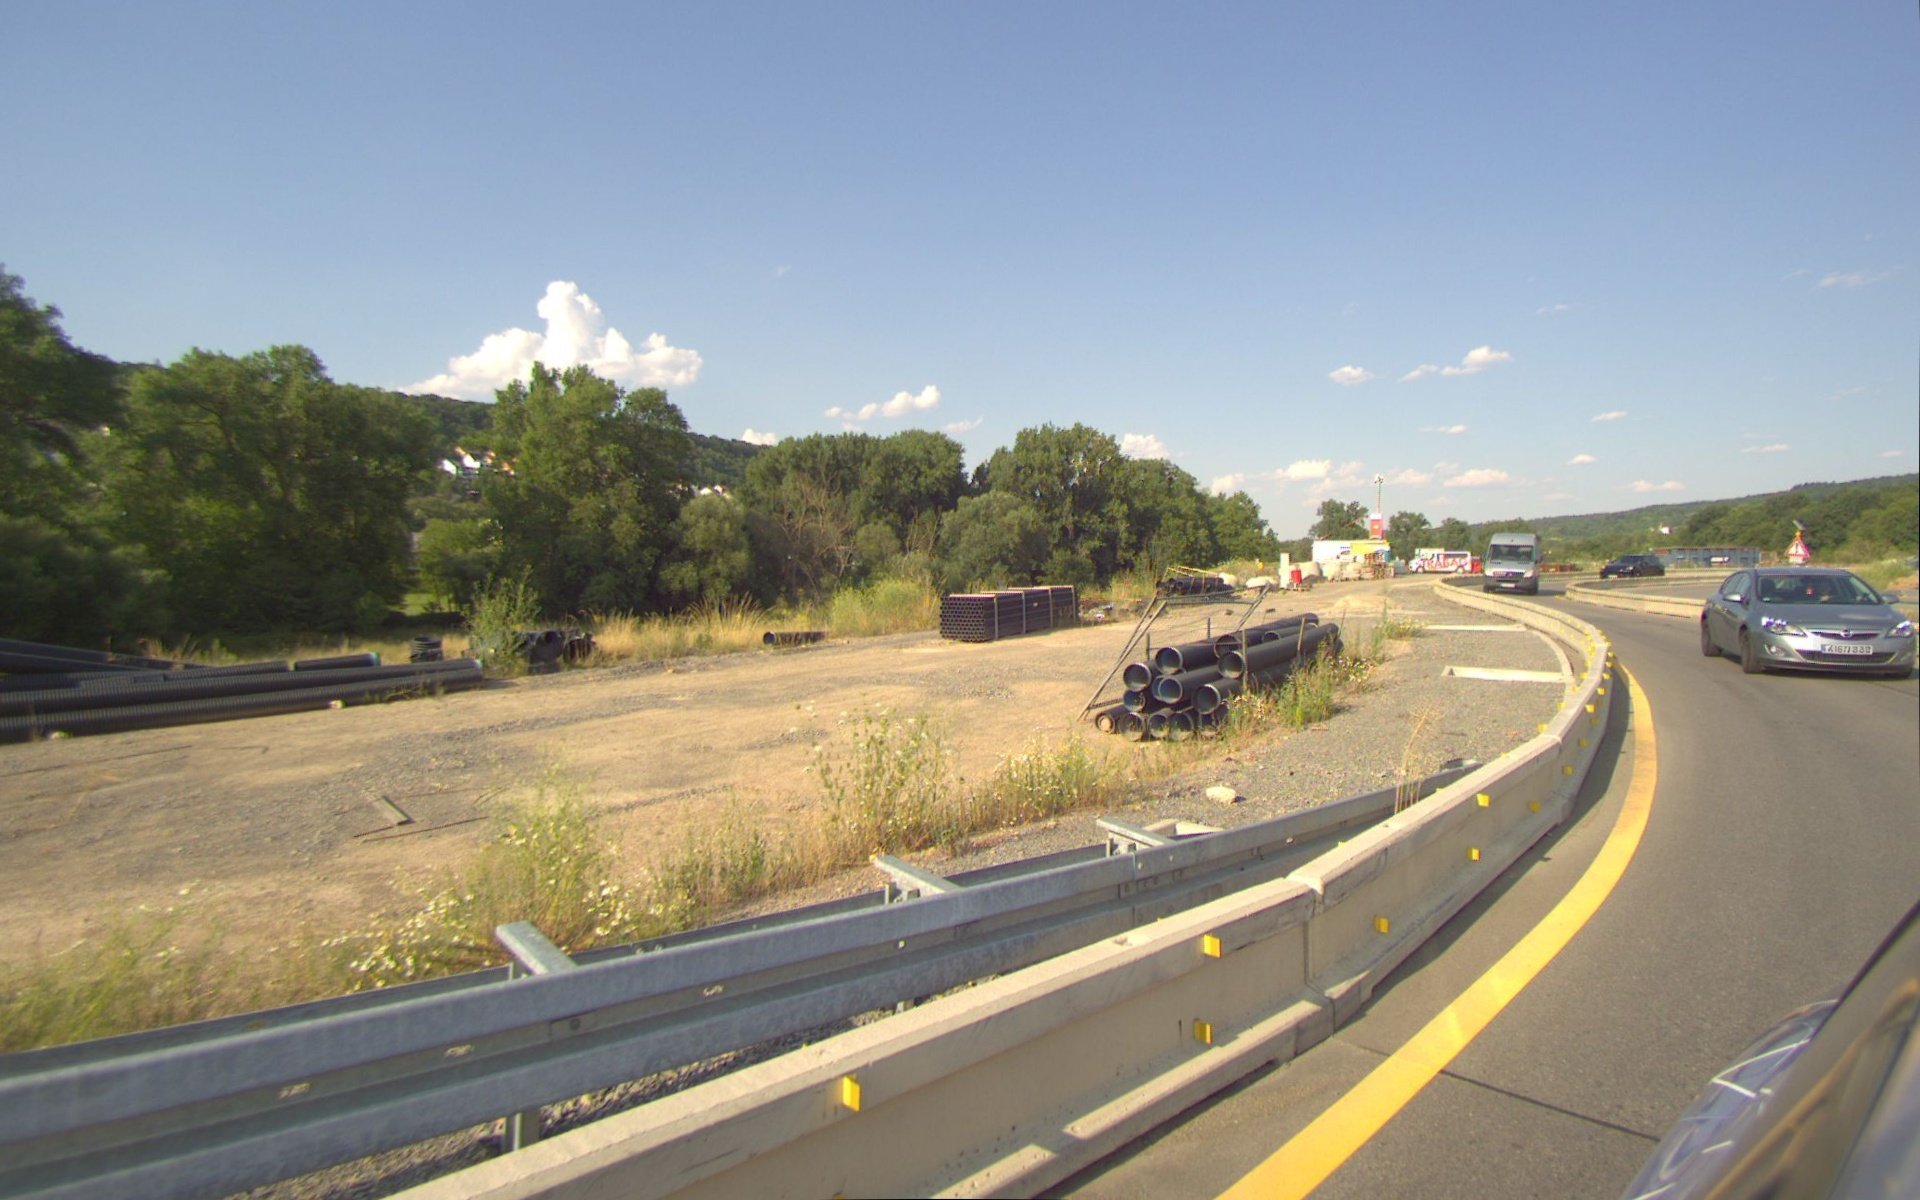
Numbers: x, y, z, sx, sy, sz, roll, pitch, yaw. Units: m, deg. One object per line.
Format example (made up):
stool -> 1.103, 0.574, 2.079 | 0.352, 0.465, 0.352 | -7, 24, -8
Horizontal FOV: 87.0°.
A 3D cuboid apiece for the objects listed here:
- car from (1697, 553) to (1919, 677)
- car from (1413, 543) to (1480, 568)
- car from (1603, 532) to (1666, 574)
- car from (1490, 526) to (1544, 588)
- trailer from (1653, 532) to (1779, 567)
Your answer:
car -> 12.233, 0.099, 14.716 | 1.731, 1.502, 4.215 | 0, 3, 26
car -> 43.753, -4.004, 91.146 | 5.255, 2.104, 2.471 | 0, 3, 21
car -> 40.379, -2.827, 60.566 | 3.926, 2.432, 1.877 | -3, 3, -36
car -> 24.146, -1.906, 43.931 | 1.900, 2.531, 5.742 | 0, 3, 29
trailer -> 56.274, -3.754, 75.469 | 7.091, 2.443, 3.014 | -1, 2, 0
